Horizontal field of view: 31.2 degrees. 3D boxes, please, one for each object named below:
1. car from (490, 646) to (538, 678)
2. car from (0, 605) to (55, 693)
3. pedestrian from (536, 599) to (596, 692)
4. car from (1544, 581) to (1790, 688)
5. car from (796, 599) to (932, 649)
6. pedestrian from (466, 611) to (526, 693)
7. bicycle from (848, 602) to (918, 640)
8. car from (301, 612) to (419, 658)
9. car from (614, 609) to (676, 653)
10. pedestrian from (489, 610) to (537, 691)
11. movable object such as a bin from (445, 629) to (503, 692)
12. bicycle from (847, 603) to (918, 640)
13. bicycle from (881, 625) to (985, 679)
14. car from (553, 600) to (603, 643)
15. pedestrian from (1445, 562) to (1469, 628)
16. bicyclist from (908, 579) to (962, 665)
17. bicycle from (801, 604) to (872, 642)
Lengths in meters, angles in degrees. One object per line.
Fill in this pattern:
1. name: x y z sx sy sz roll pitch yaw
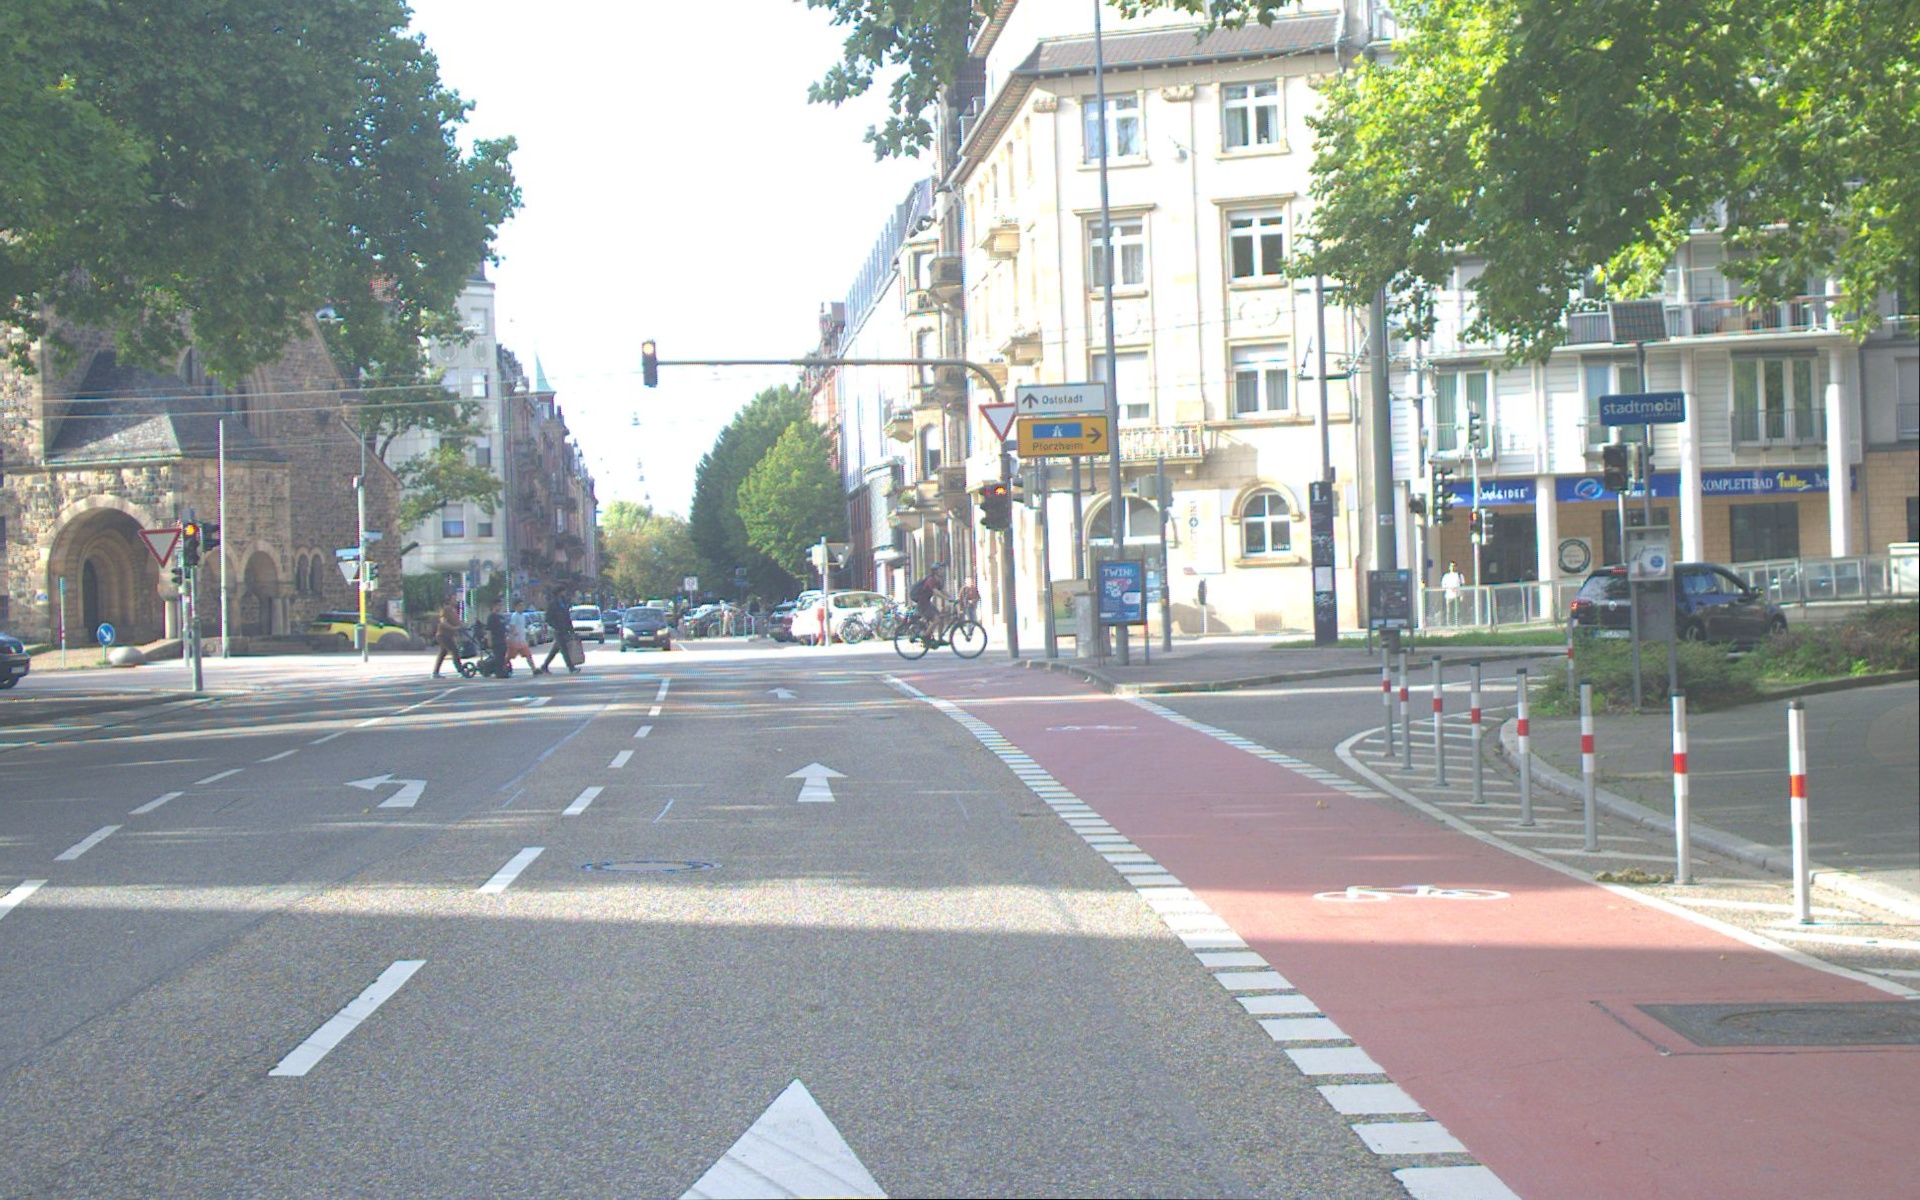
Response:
1. car: -18.048 2.523 139.352 1.550 1.226 3.587 -1 0 -1
2. car: -22.486 1.121 75.144 4.847 1.864 2.030 -2 0 16
3. pedestrian: -7.188 0.830 62.813 0.781 1.656 0.778 -2 0 19
4. car: 9.896 0.468 47.948 1.755 1.409 3.991 -1 0 38
5. car: -2.993 0.753 106.730 3.986 1.415 2.000 -2 0 -7
6. pedestrian: -8.278 0.933 61.348 0.781 1.427 0.730 -2 0 19
7. bicycle: -2.332 0.634 104.390 2.022 1.078 0.620 -2 0 -13
8. car: -22.638 1.305 129.735 3.989 1.590 1.868 -2 0 -43
9. car: -10.430 1.025 114.165 1.949 1.367 4.000 -2 0 -4
10. pedestrian: -8.057 0.908 61.945 0.655 1.427 0.498 -2 0 19
11. movable object such as a bin: -8.867 1.103 62.730 0.838 1.120 0.575 -2 0 19
12. bicycle: -2.370 0.653 105.083 2.022 1.078 0.631 -2 0 -13
13. bicycle: -0.508 0.980 64.315 1.832 0.952 0.572 -2 -1 22
14. car: -16.731 0.952 150.676 1.949 1.744 4.000 -2 -1 -4
15. pedestrian: 12.864 -0.120 88.986 0.496 1.708 0.526 0 -1 20
16. bicyclist: -0.469 0.413 64.301 0.779 1.574 0.625 -2 -1 22
17. bicycle: -3.754 0.709 104.300 2.022 1.078 0.620 -2 0 -13
